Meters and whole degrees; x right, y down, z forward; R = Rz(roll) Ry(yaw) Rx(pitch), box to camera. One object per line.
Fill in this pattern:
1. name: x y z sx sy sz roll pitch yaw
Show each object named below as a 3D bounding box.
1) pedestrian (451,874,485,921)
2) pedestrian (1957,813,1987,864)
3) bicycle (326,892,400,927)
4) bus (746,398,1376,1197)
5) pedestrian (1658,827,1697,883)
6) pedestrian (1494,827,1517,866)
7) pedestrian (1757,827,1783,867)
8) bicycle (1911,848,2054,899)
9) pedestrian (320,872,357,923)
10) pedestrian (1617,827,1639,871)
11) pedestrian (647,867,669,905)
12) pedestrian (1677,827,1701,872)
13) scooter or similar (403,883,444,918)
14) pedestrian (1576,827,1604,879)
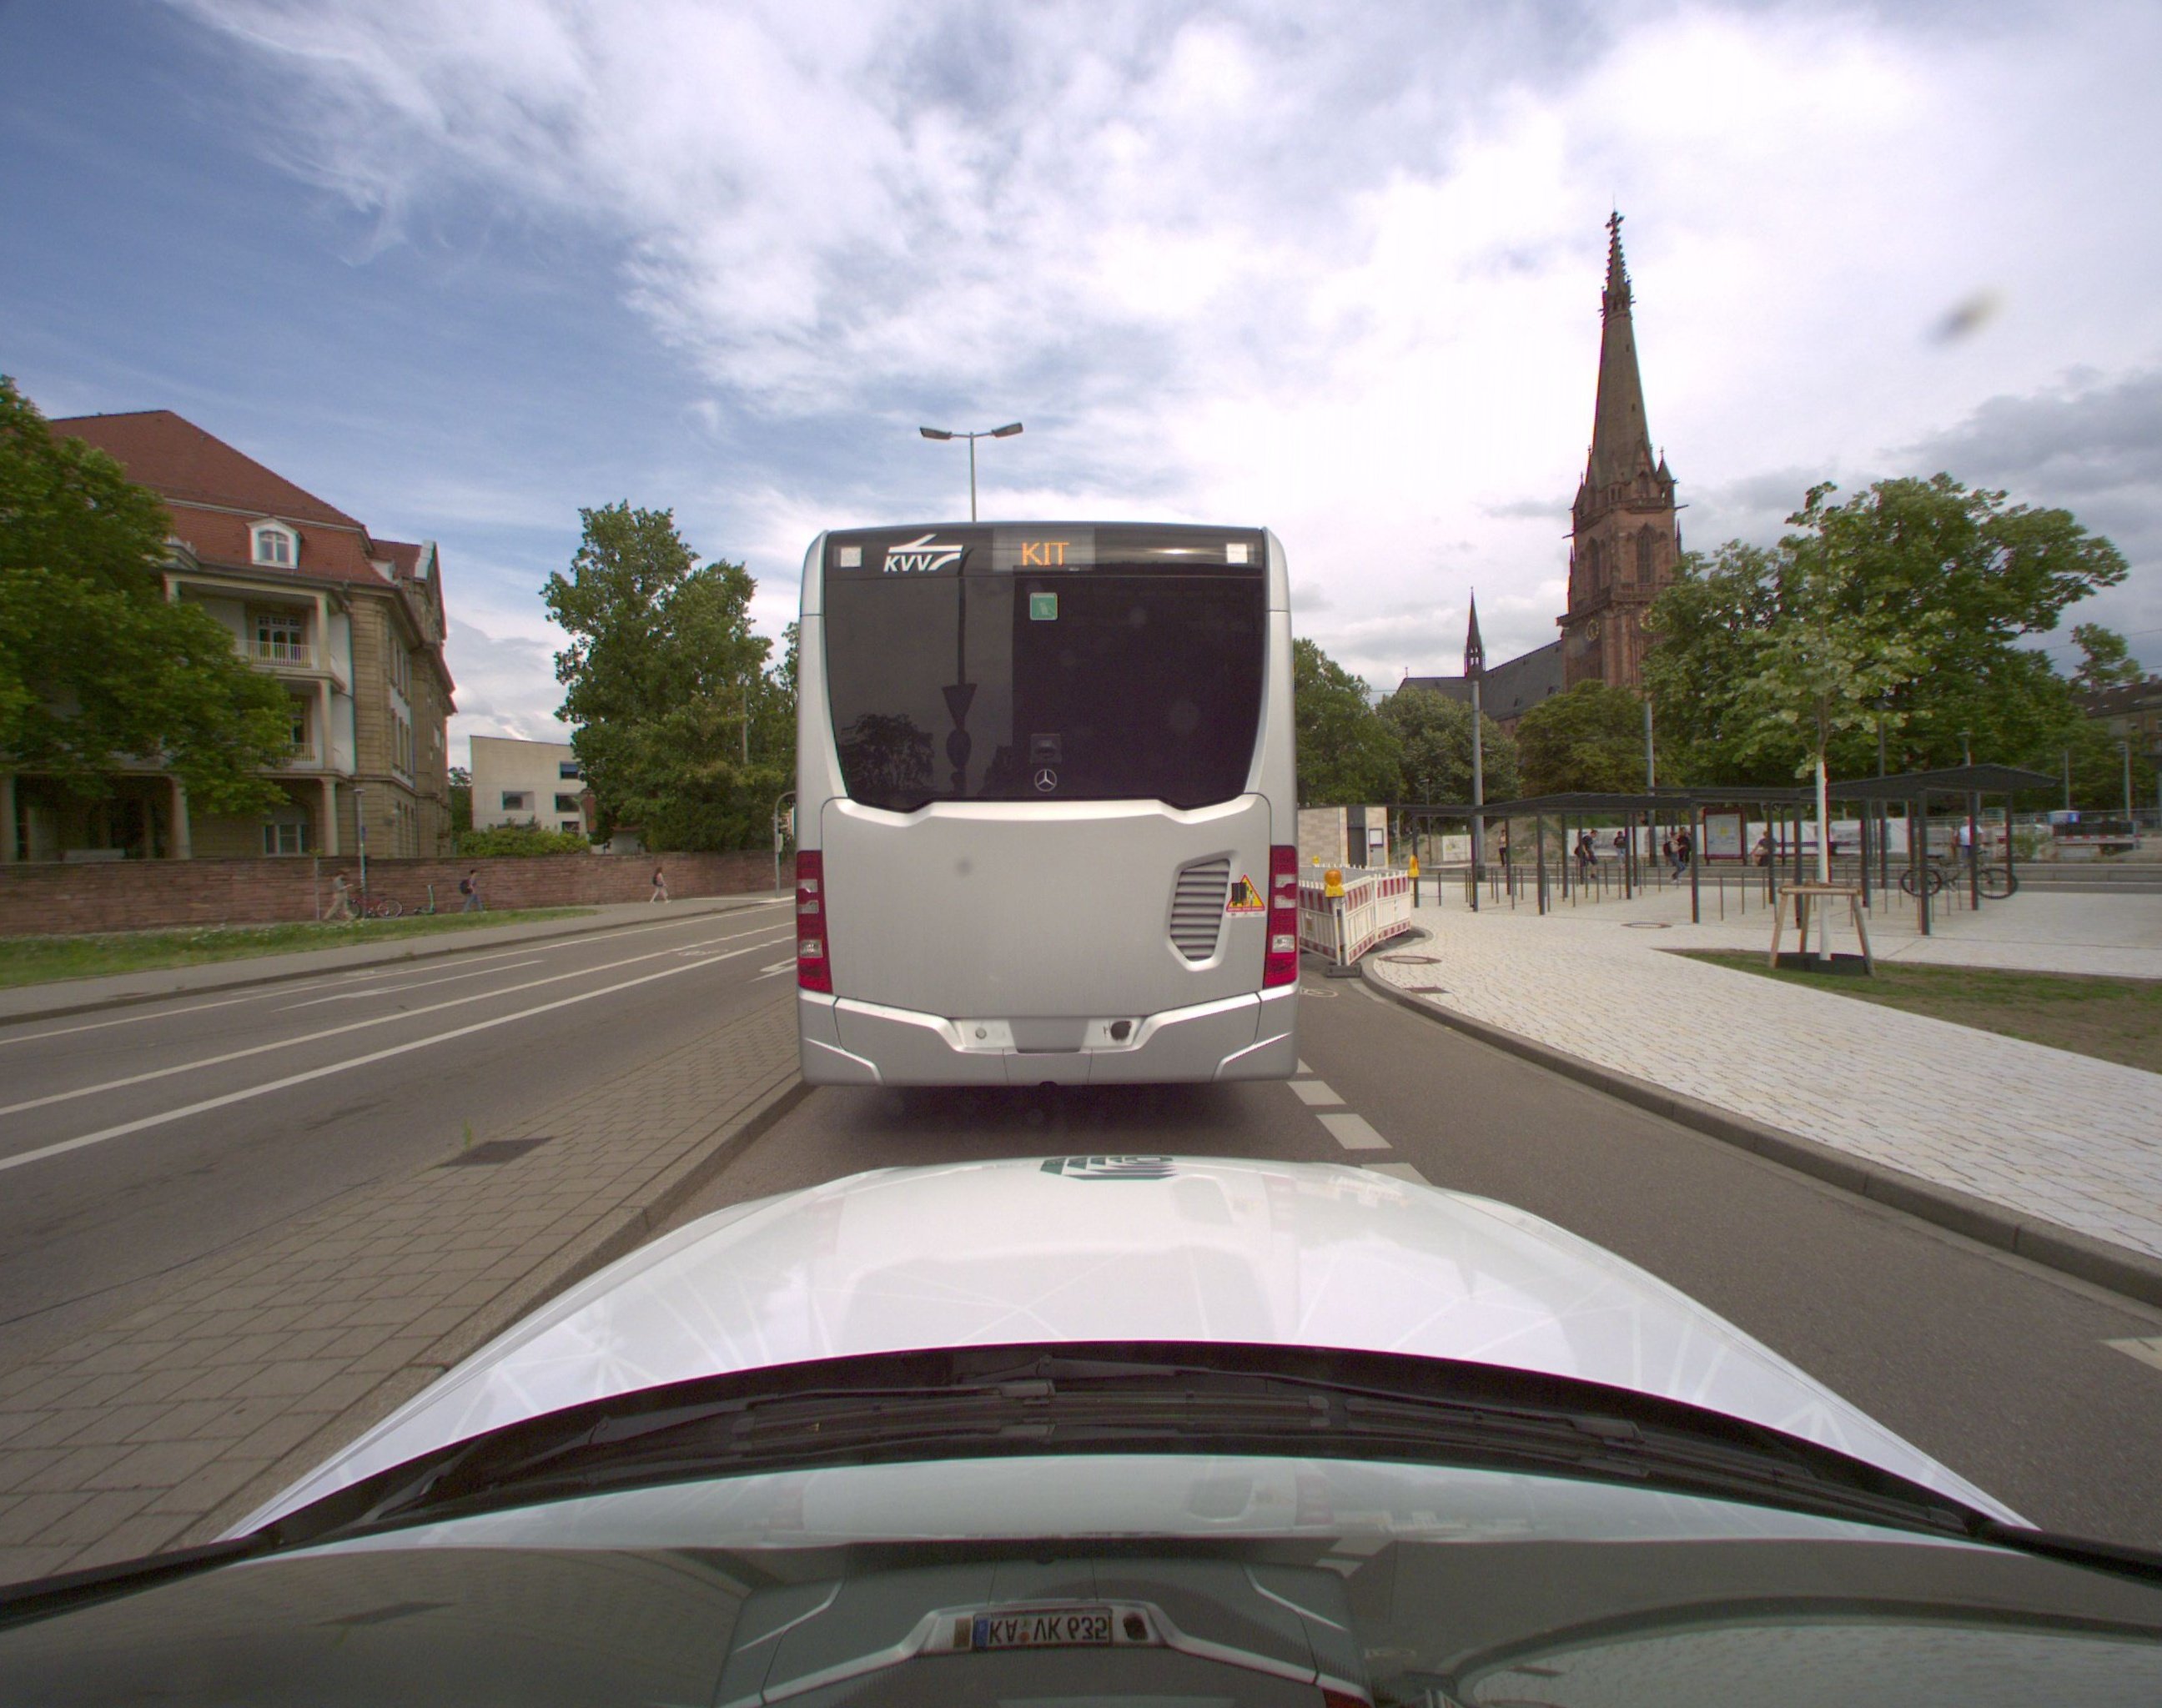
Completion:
1. pedestrian: -22.709 1.583 30.178 0.570 1.654 0.787 0 3 33
2. pedestrian: 29.765 -0.522 27.208 0.714 1.677 0.670 -4 3 -42
3. bicycle: -25.702 1.962 29.182 1.937 1.005 0.770 -4 3 -42
4. bus: 0.438 -0.190 10.658 2.692 3.438 14.201 -2 0 5
5. pedestrian: 17.608 0.013 24.049 0.541 1.603 0.789 -3 3 -36
6. pedestrian: 20.335 -0.362 39.043 0.816 1.800 0.755 -1 2 11
7. pedestrian: 26.037 -0.273 30.782 0.694 1.485 0.670 -4 3 -42
8. bicycle: 18.738 0.386 16.976 0.587 0.955 1.944 -3 3 -38
9. pedestrian: -25.596 1.488 28.090 0.570 1.654 0.787 0 3 38
10. pedestrian: 23.213 -0.225 34.540 0.526 1.800 0.670 -4 3 -42
11. pedestrian: -19.130 1.422 36.850 0.525 1.654 0.634 -1 3 24
12. pedestrian: 24.471 -0.190 32.764 0.526 1.800 0.670 -4 3 -42
13. scooter or similar: -24.495 1.722 30.350 0.519 1.139 1.513 -2 3 -13
14. pedestrian: 16.569 -0.041 26.502 0.534 1.654 0.623 -3 3 -36
